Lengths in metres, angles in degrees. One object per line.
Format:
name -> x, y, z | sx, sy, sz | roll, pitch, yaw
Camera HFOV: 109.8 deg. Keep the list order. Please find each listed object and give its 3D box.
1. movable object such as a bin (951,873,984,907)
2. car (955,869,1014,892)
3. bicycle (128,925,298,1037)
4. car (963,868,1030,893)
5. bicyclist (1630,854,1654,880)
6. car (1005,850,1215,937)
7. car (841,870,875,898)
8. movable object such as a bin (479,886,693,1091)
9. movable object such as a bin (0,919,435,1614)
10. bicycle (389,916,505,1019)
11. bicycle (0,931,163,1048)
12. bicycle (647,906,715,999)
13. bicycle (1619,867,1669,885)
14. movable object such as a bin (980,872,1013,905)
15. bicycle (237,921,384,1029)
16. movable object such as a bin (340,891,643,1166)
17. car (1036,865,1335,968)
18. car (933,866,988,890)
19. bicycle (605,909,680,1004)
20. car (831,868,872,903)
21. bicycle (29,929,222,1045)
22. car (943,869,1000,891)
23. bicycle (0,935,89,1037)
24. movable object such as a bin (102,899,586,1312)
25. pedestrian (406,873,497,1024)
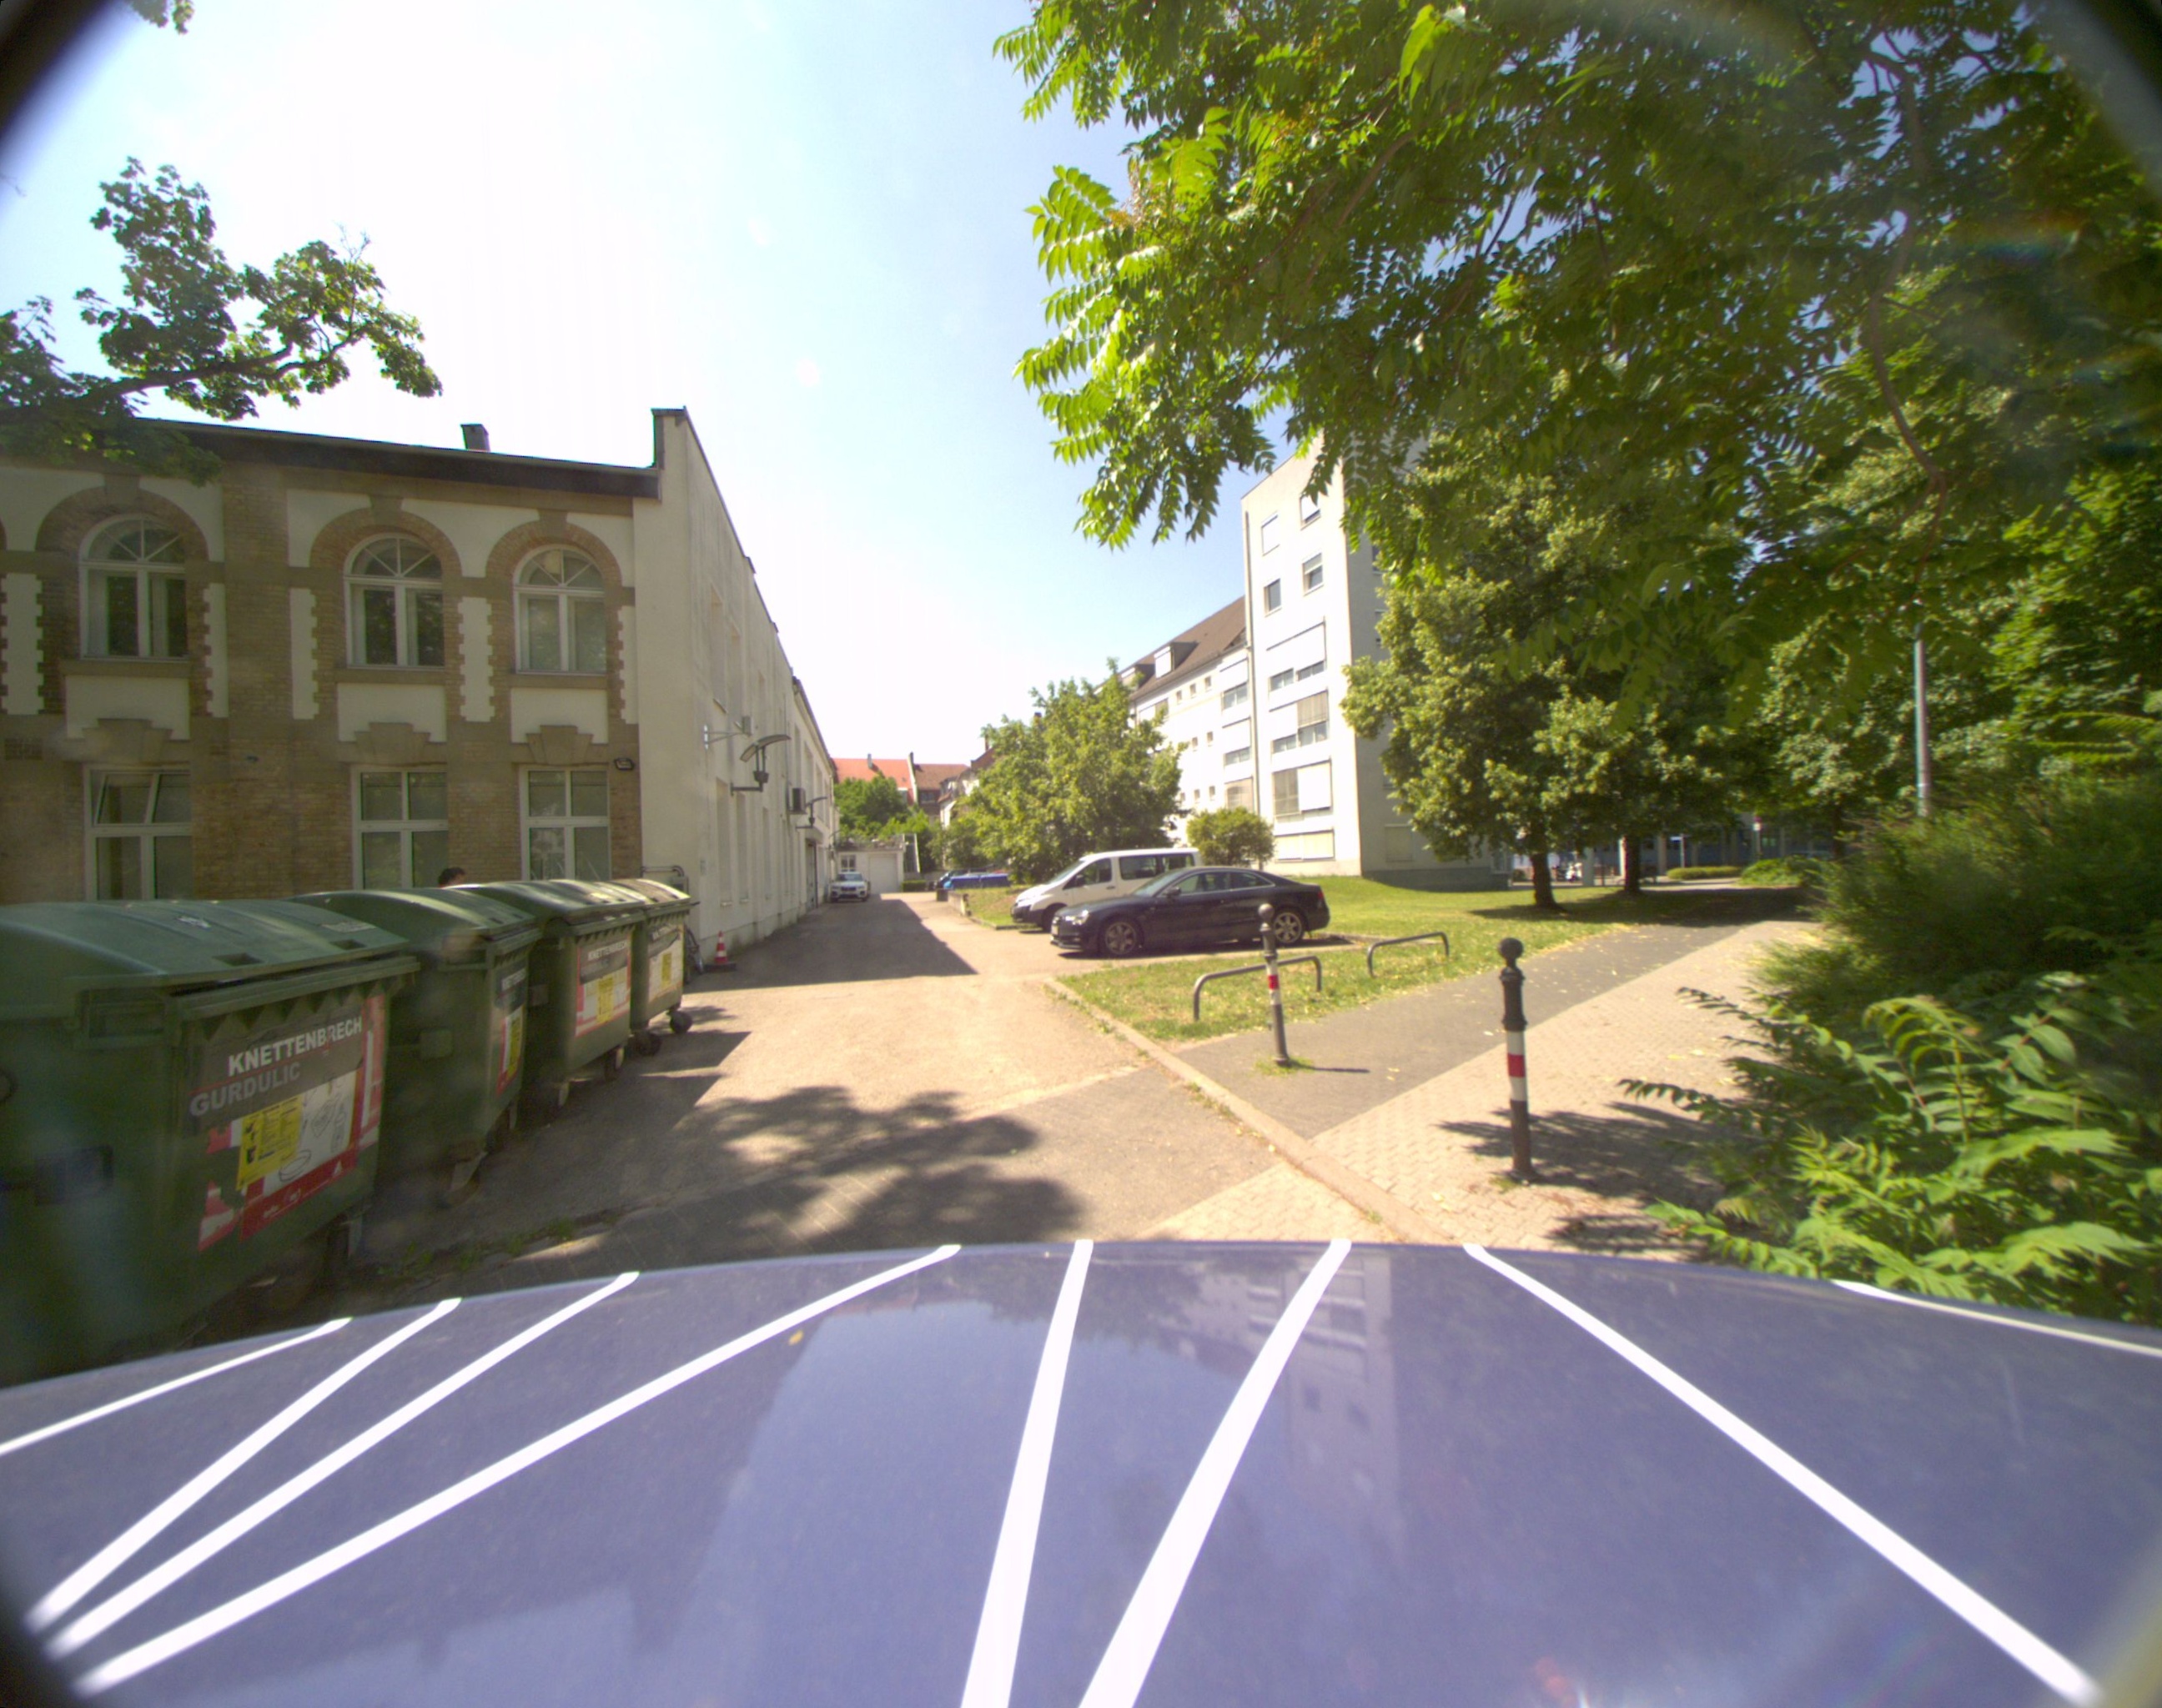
movable object such as a bin -> -5.024, 1.575, 33.553 | 1.273, 1.380, 1.094 | -2, 0, -14
car -> -7.386, 2.016, 58.060 | 4.228, 1.559, 1.611 | -2, 0, -20
bicycle -> -10.725, 1.515, 9.484 | 0.406, 1.095, 1.824 | -2, 0, -14
car -> -5.763, 1.778, 51.655 | 4.228, 1.559, 1.611 | -2, 0, -20
bicyclist -> 22.932, 0.525, 31.069 | 0.522, 1.038, 0.518 | -1, -3, -12
car -> 0.656, 0.925, 19.081 | 4.865, 1.872, 2.065 | -2, 0, -12
car -> -15.377, 2.020, 52.605 | 2.014, 1.792, 4.721 | -2, 0, -14
movable object such as a bin -> -4.094, 1.034, 6.454 | 1.079, 1.449, 1.375 | -2, 0, -13
movable object such as a bin -> -2.993, 0.993, 2.263 | 1.079, 1.449, 1.375 | -2, 0, -13
bicycle -> -8.345, 1.445, 10.091 | 0.406, 1.095, 1.824 | -2, 0, -14
bicycle -> -11.996, 1.552, 9.000 | 0.406, 1.095, 1.824 | -2, 0, -14
bicycle -> -5.660, 1.344, 10.820 | 0.406, 1.095, 1.824 | -2, 0, -14
bicycle -> 23.027, 0.909, 31.085 | 1.617, 0.637, 0.734 | -2, -3, -13
movable object such as a bin -> -3.772, 1.538, 33.904 | 1.273, 1.380, 1.094 | -2, 0, -14
bicycle -> -9.764, 1.487, 9.714 | 0.406, 1.095, 1.824 | -2, 0, -14
movable object such as a bin -> -3.758, 1.016, 5.051 | 1.079, 1.449, 1.375 | -2, 0, -13
car -> 1.636, 0.971, 12.626 | 4.445, 1.371, 2.022 | -2, -2, -12
car -> -10.087, 2.020, 63.544 | 4.228, 1.812, 2.006 | -2, 0, -20
bicycle -> -6.102, 1.379, 10.653 | 0.406, 1.095, 1.824 | -2, 0, -14
car -> -13.251, 1.758, 44.075 | 2.014, 1.792, 4.721 | -2, 0, -14
bicycle -> -11.455, 1.536, 9.203 | 0.406, 1.095, 1.824 | -2, 0, -14
car -> -8.746, 2.092, 60.862 | 4.228, 1.559, 1.611 | -2, 0, -20
bicycle -> -12.676, 1.572, 8.780 | 0.406, 1.095, 1.824 | -2, 0, -14
movable object such as a bin -> -3.288, 0.995, 3.653 | 1.079, 1.449, 1.375 | -2, 0, -13
pedestrian -> -7.613, 1.107, 9.217 | 0.553, 1.738, 0.688 | -2, 0, -13
